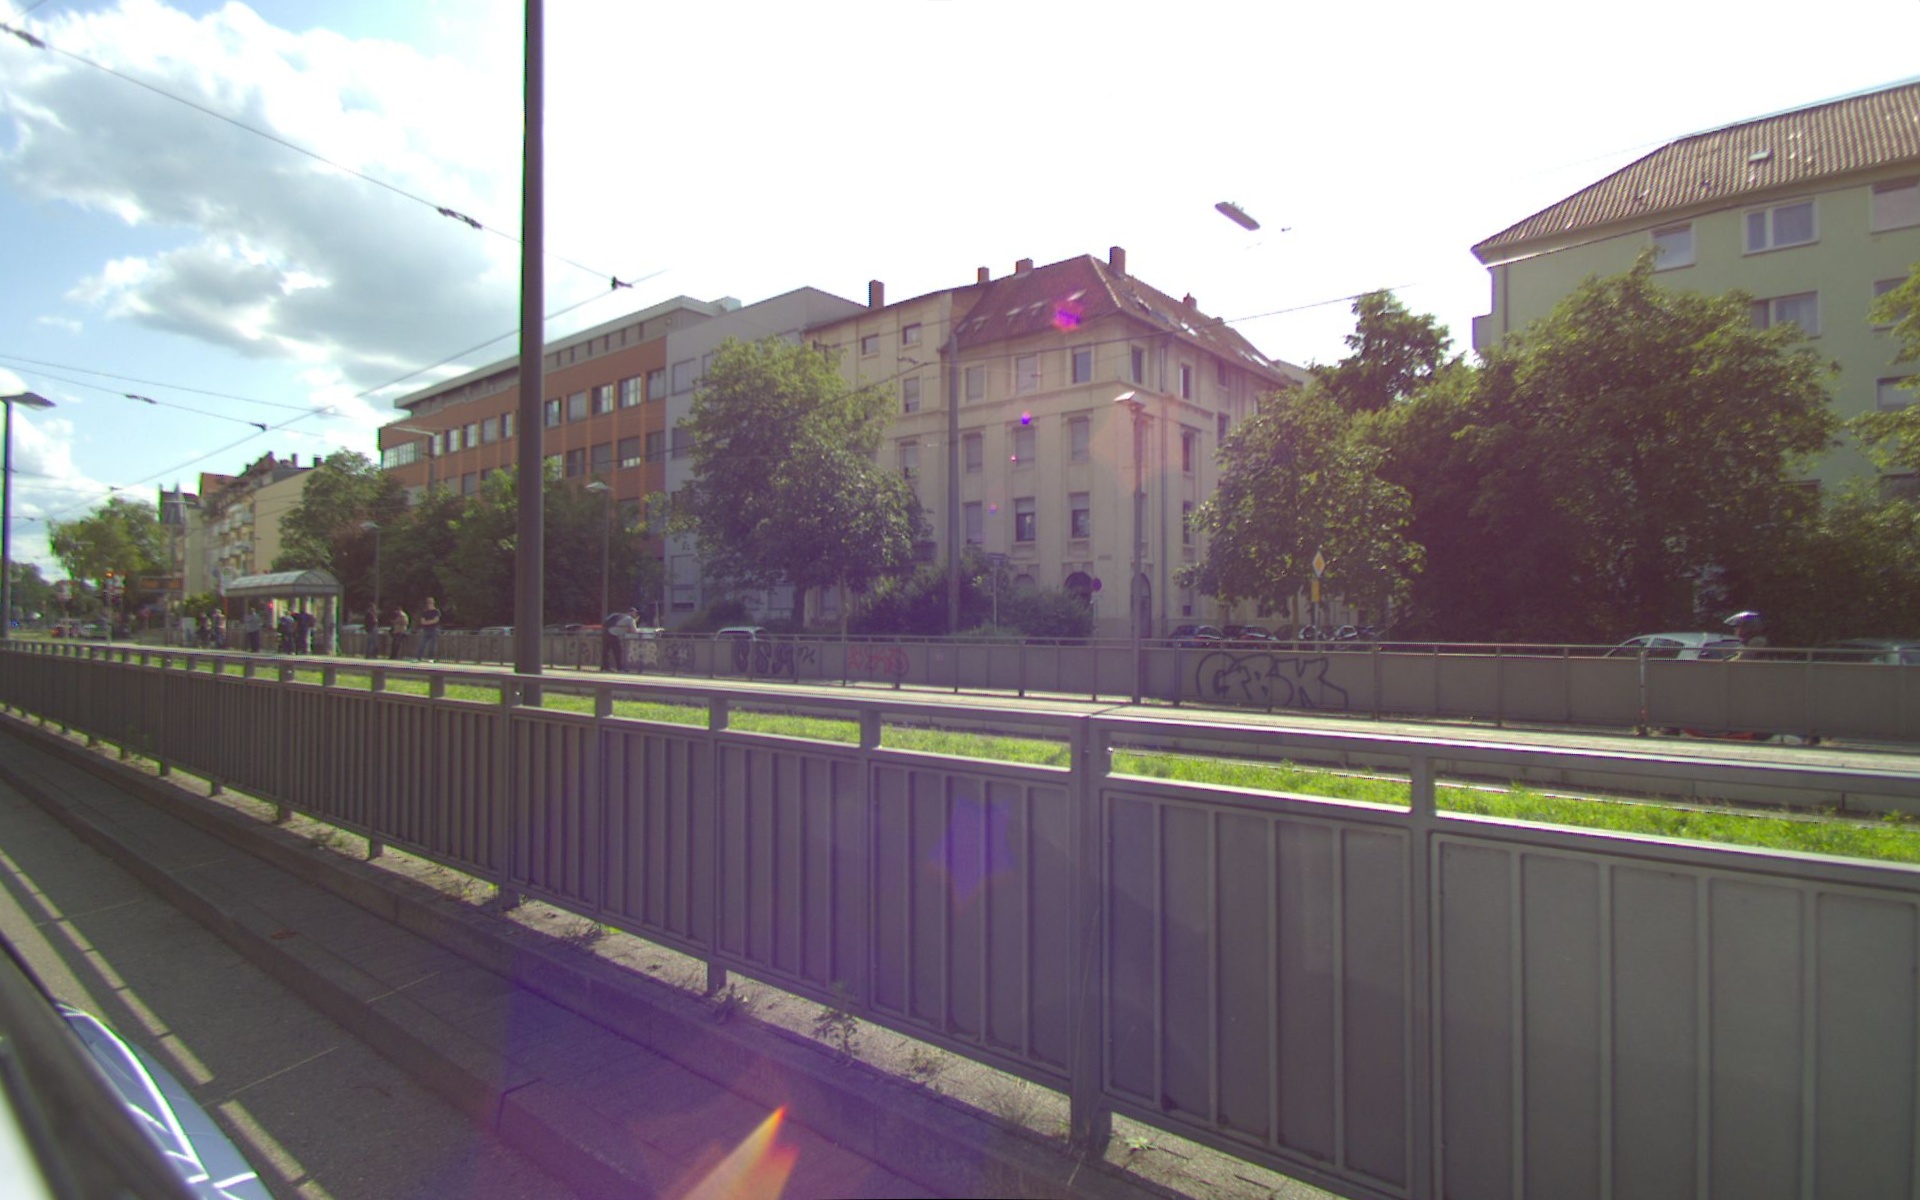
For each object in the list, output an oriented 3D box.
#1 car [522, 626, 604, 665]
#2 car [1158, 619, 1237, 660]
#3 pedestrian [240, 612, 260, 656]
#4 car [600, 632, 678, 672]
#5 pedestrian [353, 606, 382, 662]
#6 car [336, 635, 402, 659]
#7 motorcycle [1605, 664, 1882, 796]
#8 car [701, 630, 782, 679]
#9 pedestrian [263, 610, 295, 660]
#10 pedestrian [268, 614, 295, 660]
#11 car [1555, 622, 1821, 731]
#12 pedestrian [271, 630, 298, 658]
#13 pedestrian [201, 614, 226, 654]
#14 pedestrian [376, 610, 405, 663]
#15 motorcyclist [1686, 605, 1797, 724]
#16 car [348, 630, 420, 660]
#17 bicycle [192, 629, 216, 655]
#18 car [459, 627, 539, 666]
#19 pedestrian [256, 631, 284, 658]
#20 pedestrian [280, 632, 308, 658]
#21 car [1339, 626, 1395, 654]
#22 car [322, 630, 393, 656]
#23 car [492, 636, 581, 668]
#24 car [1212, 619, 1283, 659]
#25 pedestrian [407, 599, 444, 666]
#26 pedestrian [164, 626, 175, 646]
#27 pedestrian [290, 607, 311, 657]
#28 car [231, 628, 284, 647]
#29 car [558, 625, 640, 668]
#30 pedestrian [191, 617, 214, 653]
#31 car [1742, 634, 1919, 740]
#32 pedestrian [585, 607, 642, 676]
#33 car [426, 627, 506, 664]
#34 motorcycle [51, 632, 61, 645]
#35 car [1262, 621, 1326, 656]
[{"bbox_3d":[-16.856,1.902,43.126,1.590,1.580,3.992,-1,-2,6],"label":"car"},{"bbox_3d":[10.638,1.779,45.151,1.822,1.746,3.946,-1,-3,40],"label":"car"},{"bbox_3d":[-28.109,1.330,40.075,0.623,1.739,0.481,-1,-1,39],"label":"pedestrian"},{"bbox_3d":[-12.300,1.965,39.035,1.790,1.402,4.023,-1,-2,0],"label":"car"},{"bbox_3d":[-18.895,1.081,32.291,0.599,1.767,0.626,1,-1,-9],"label":"pedestrian"},{"bbox_3d":[-32.813,2.594,56.272,1.583,1.314,3.247,0,-2,5],"label":"car"},{"bbox_3d":[9.285,1.475,12.112,2.515,1.349,1.004,-2,-3,41],"label":"motorcycle"},{"bbox_3d":[-7.439,1.828,34.809,1.899,1.576,4.153,1,-2,-1],"label":"car"},{"bbox_3d":[-24.364,1.242,36.213,1.035,1.756,0.626,-1,-2,38],"label":"pedestrian"},{"bbox_3d":[-24.080,1.315,35.914,0.556,1.645,0.593,-1,-3,26],"label":"pedestrian"},{"bbox_3d":[12.440,1.251,17.670,1.803,1.652,3.996,-2,-2,3],"label":"car"},{"bbox_3d":[-26.295,1.720,39.389,0.562,1.039,0.647,5,1,37],"label":"pedestrian"},{"bbox_3d":[-32.908,1.502,44.608,0.797,1.737,0.632,-1,-2,38],"label":"pedestrian"},{"bbox_3d":[-18.536,1.172,32.931,0.624,1.687,0.600,-1,-2,40],"label":"pedestrian"},{"bbox_3d":[9.357,0.752,12.120,0.986,1.349,0.928,-2,-3,41],"label":"motorcyclist"},{"bbox_3d":[-30.697,2.389,54.017,1.567,1.431,3.302,-1,0,10],"label":"car"},{"bbox_3d":[-33.245,1.851,44.476,0.653,1.122,1.880,4,-3,-41],"label":"bicycle"},{"bbox_3d":[-21.230,2.110,46.786,1.651,1.540,3.996,-2,0,3],"label":"car"},{"bbox_3d":[-26.750,1.718,39.253,0.623,1.039,0.713,-1,-3,37],"label":"pedestrian"},{"bbox_3d":[-25.371,1.716,38.569,0.562,1.002,0.698,-1,-3,37],"label":"pedestrian"},{"bbox_3d":[24.633,2.448,61.164,1.824,1.615,3.942,-1,-3,43],"label":"car"},{"bbox_3d":[-35.115,2.489,59.137,1.629,1.508,3.996,0,-2,3],"label":"car"},{"bbox_3d":[-18.945,2.316,45.444,1.773,1.159,3.987,-2,0,11],"label":"car"},{"bbox_3d":[13.987,1.912,49.100,1.822,1.845,3.946,-1,-3,40],"label":"car"},{"bbox_3d":[-15.479,0.927,29.320,0.639,1.906,0.742,1,0,42],"label":"pedestrian"},{"bbox_3d":[-68.146,3.126,87.196,0.481,1.723,0.641,-2,-2,41],"label":"pedestrian"},{"bbox_3d":[-24.606,1.183,37.732,0.623,1.841,0.438,-1,-2,38],"label":"pedestrian"},{"bbox_3d":[-60.143,3.175,86.677,3.558,1.491,1.776,2,-6,-43],"label":"car"},{"bbox_3d":[-14.630,1.857,41.279,1.809,1.652,4.135,1,-2,1],"label":"car"},{"bbox_3d":[-36.259,1.661,48.433,0.797,1.712,0.659,-1,-2,38],"label":"pedestrian"},{"bbox_3d":[14.666,1.300,16.133,1.590,1.497,3.991,0,-2,7],"label":"car"},{"bbox_3d":[-8.261,0.984,24.131,0.797,1.590,0.979,-1,-2,37],"label":"pedestrian"},{"bbox_3d":[-23.636,2.134,48.543,1.651,1.540,3.995,-2,0,4],"label":"car"},{"bbox_3d":[-97.798,4.159,109.504,2.010,1.414,0.626,-1,0,43],"label":"motorcycle"},{"bbox_3d":[17.518,2.032,52.971,1.822,1.731,3.946,-1,-3,40],"label":"car"}]
